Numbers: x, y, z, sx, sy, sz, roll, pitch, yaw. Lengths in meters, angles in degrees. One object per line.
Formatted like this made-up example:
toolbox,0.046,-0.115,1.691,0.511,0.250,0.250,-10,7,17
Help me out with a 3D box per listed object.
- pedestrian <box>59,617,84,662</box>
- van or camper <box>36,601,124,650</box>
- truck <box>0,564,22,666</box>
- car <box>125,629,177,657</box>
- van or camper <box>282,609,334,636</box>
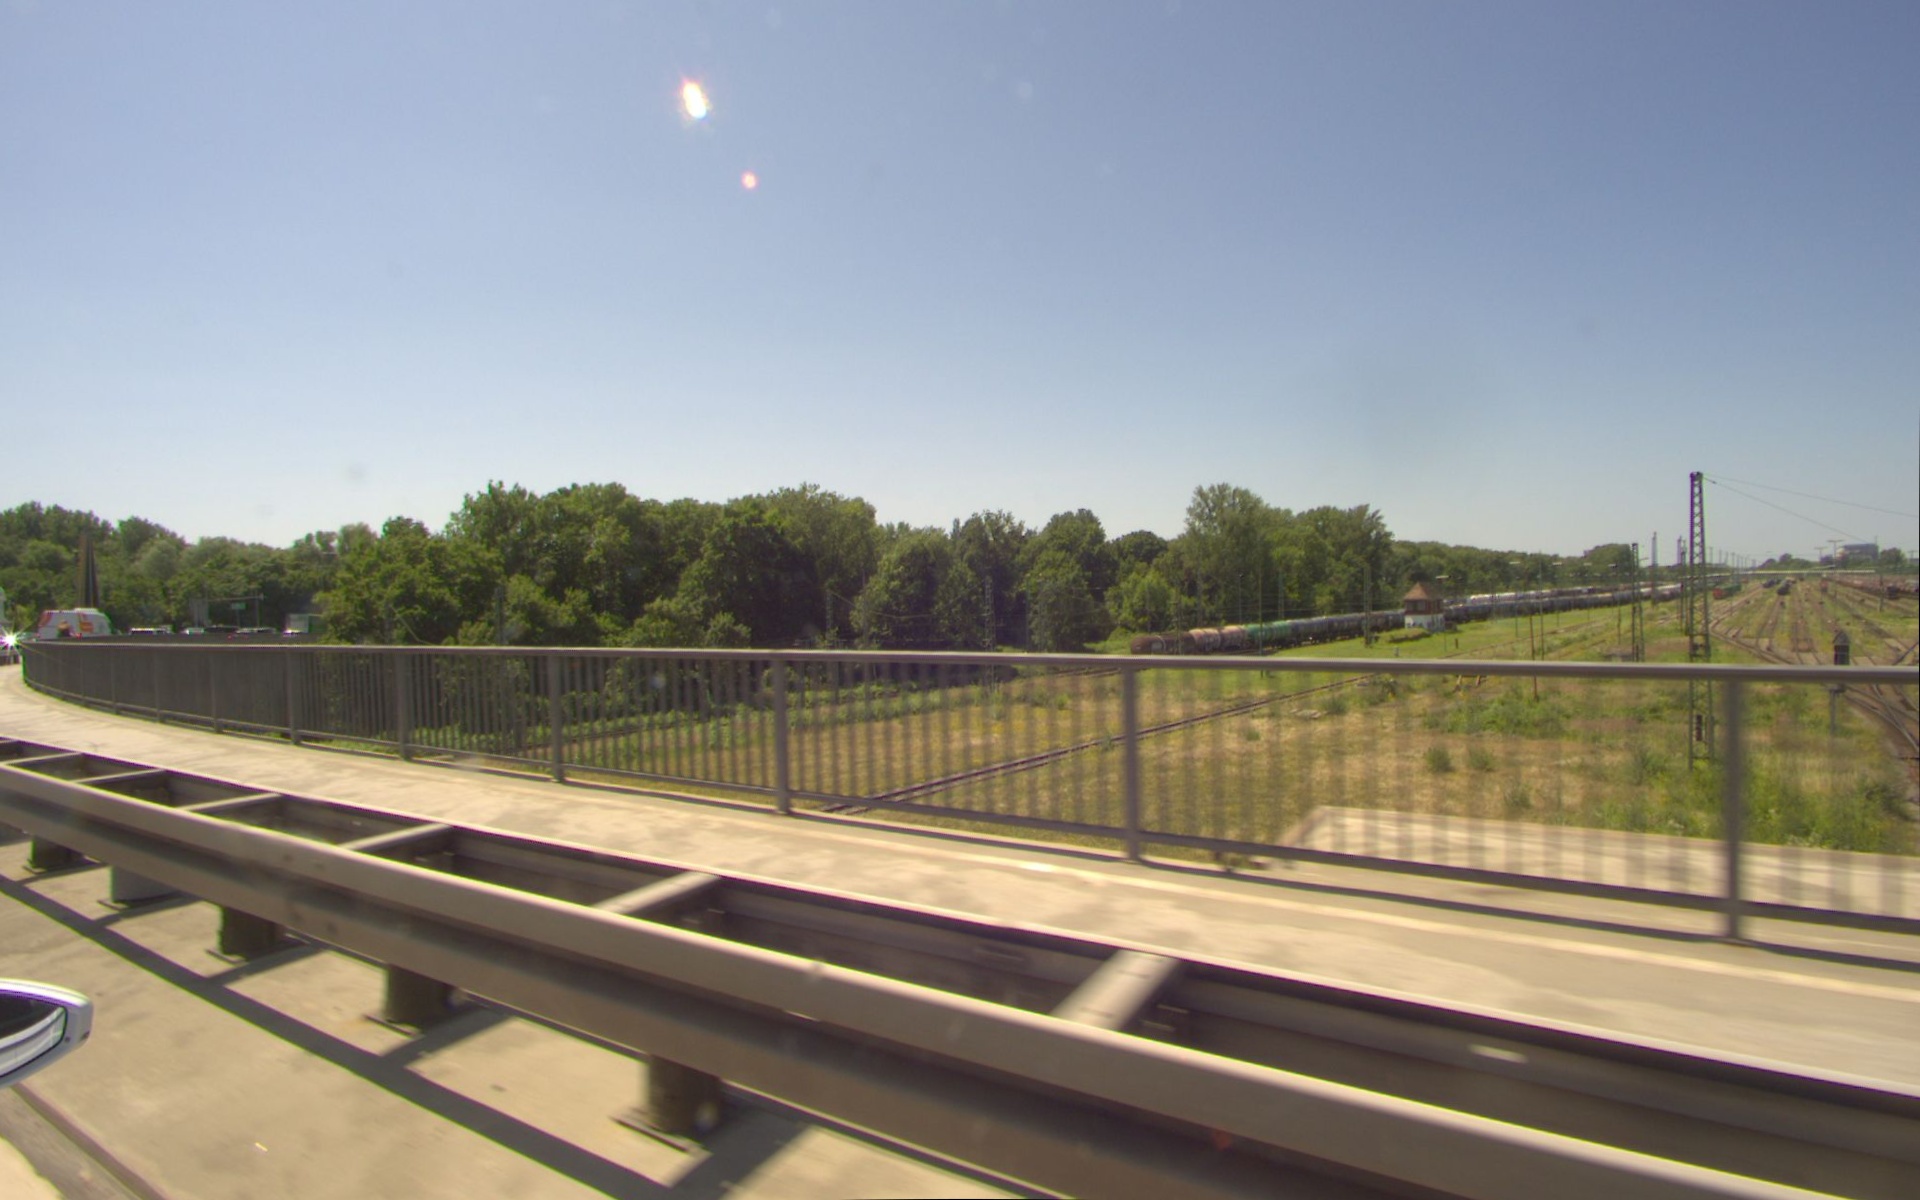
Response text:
pedestrian,-39.209,1.746,44.207,0.730,1.992,0.730,1,-2,-35
van or camper,-52.348,1.529,59.732,2.174,2.746,5.907,0,-1,-23
truck,-45.258,0.680,45.065,3.138,4.643,7.353,1,-2,-33
car,-56.346,3.010,69.809,1.865,1.873,3.987,0,-2,-25
van or camper,-69.278,2.479,106.506,2.445,2.318,4.966,5,-6,-7
